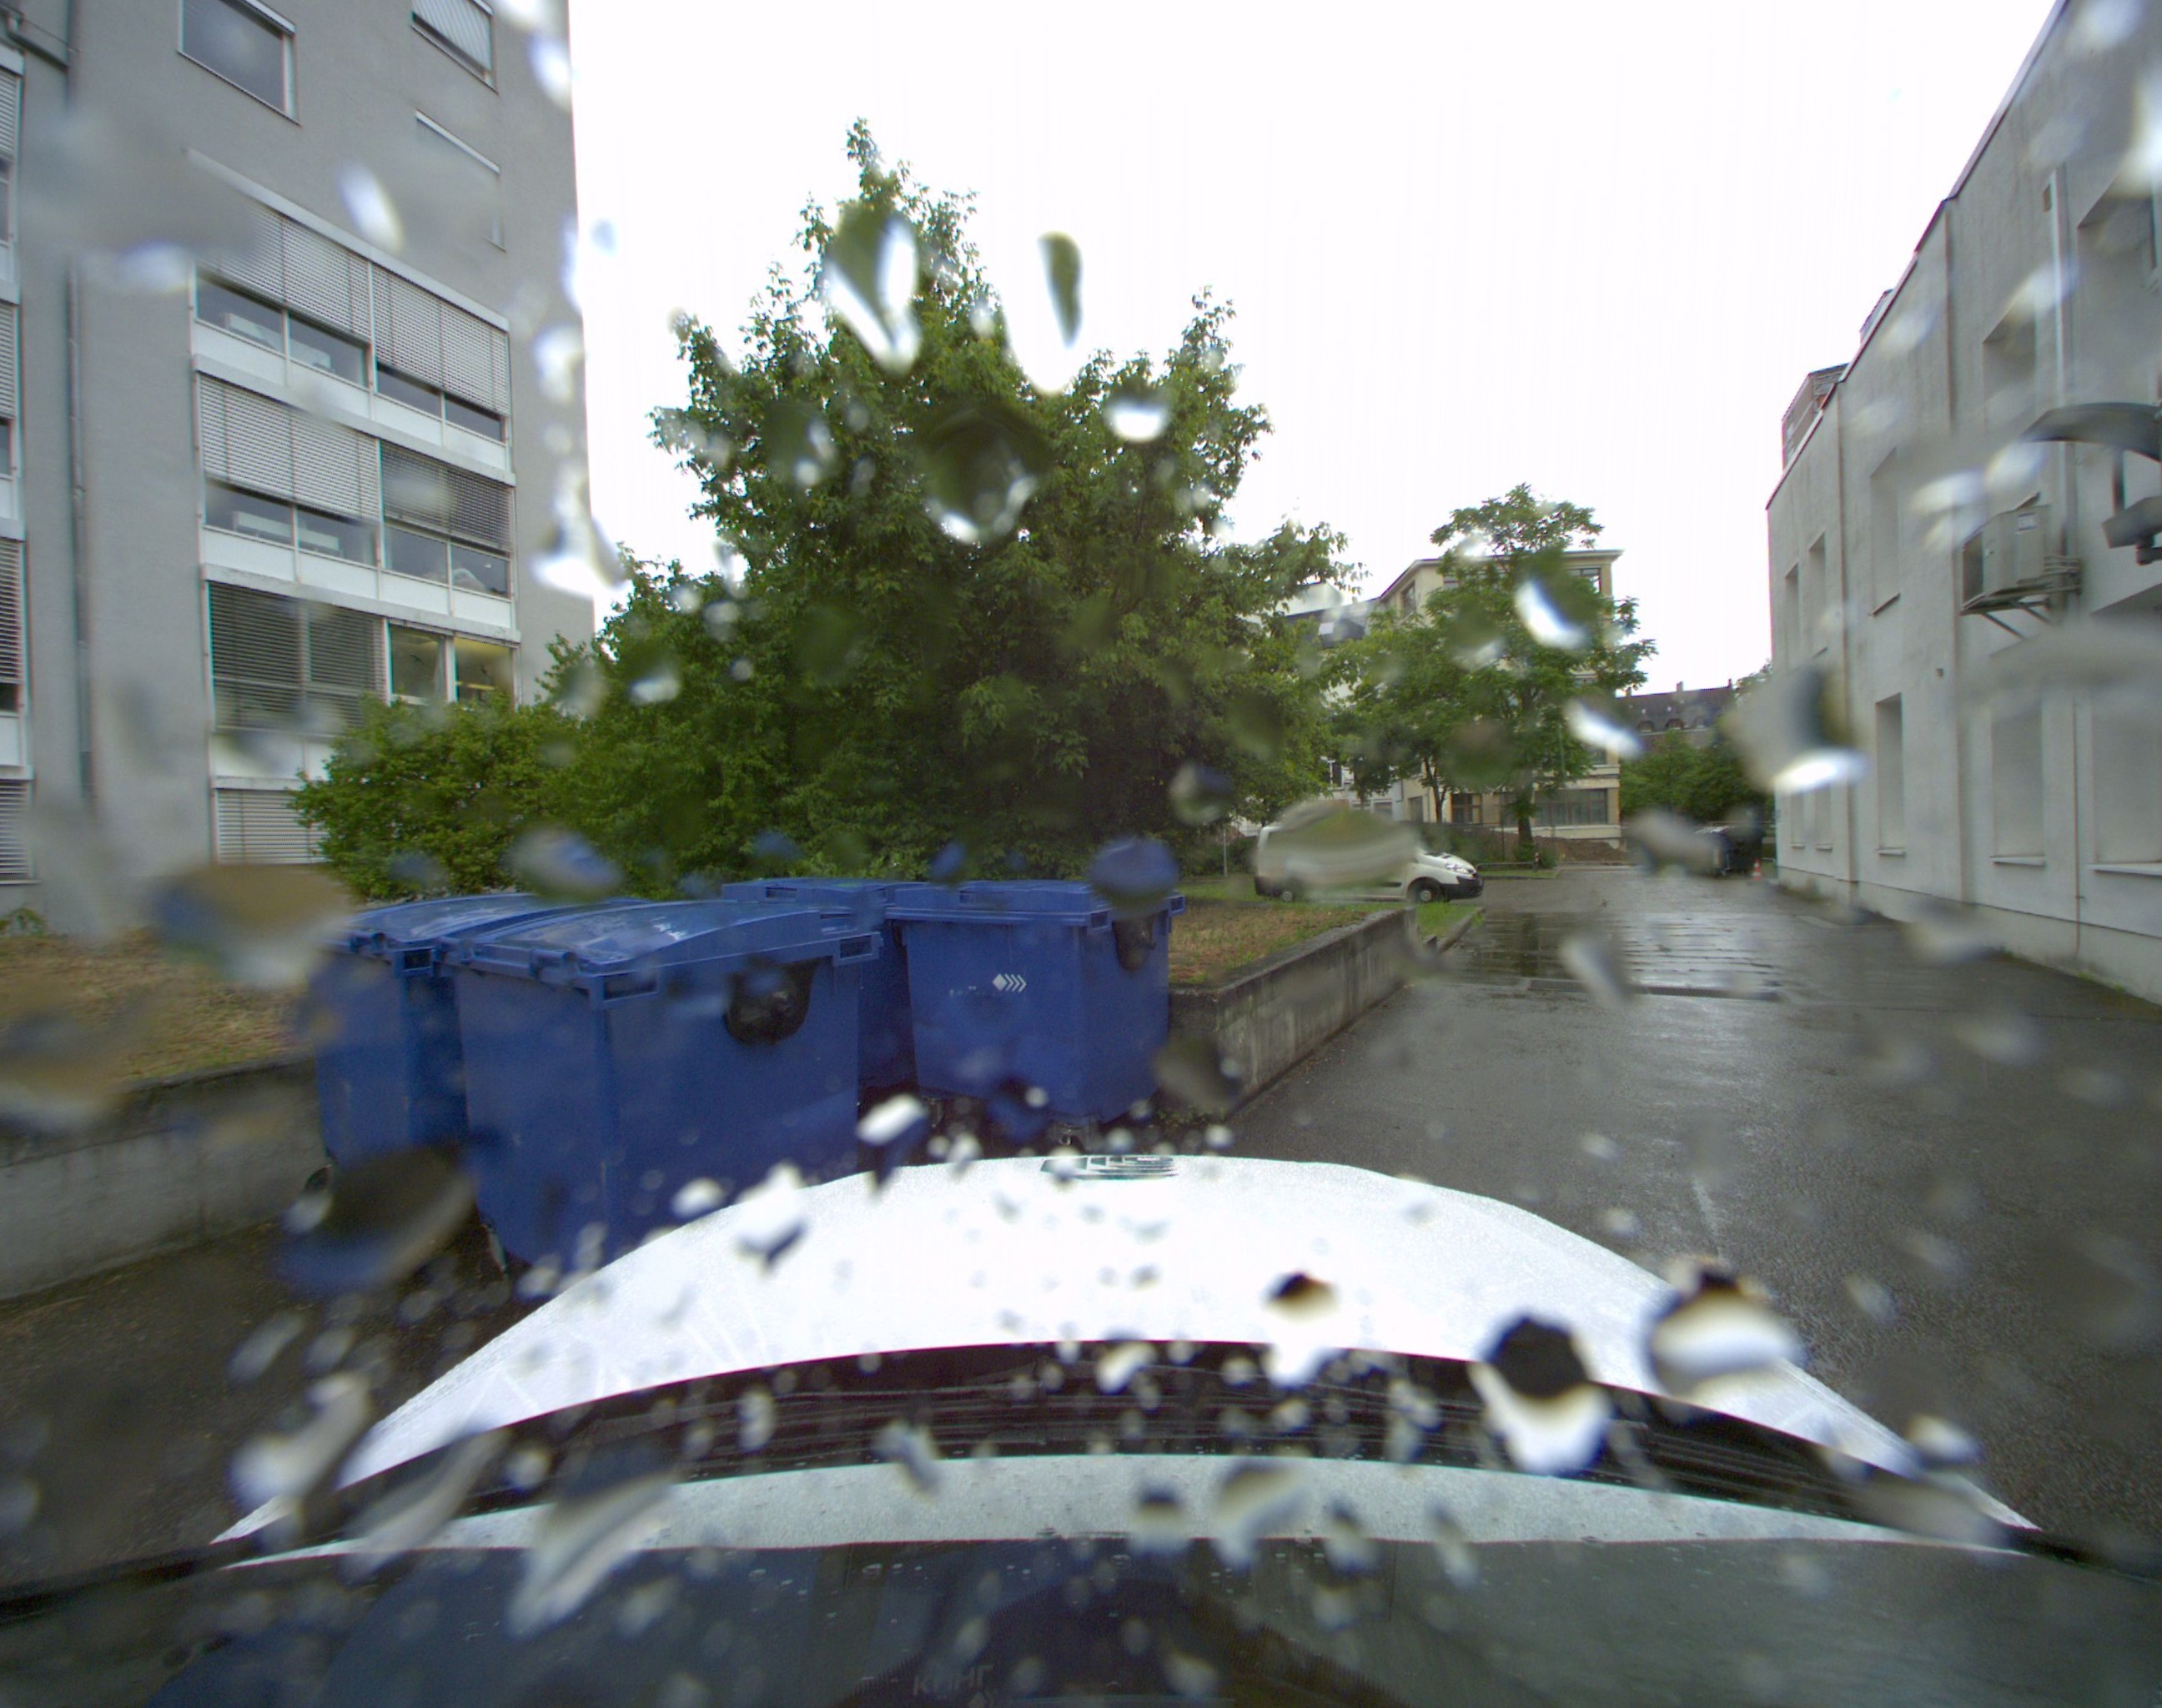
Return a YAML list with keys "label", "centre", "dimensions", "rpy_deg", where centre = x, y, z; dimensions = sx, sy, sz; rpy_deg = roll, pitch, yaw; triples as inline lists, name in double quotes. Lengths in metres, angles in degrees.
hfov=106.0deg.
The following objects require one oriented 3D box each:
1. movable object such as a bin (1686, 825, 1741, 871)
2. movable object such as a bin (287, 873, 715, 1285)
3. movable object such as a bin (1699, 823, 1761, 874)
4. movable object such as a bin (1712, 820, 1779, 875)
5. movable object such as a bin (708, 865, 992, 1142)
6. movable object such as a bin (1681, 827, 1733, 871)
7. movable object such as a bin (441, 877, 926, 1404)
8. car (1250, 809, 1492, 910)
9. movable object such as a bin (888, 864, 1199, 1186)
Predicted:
- label: "movable object such as a bin"
  centre: [20.381, -0.180, 26.282]
  dimensions: [1.203, 1.437, 1.267]
  rpy_deg: [-1, -1, 30]
- label: "movable object such as a bin"
  centre: [-2.533, 0.810, 3.627]
  dimensions: [1.191, 1.336, 1.124]
  rpy_deg: [1, 3, 32]
- label: "movable object such as a bin"
  centre: [18.790, -0.142, 23.622]
  dimensions: [1.203, 1.437, 1.302]
  rpy_deg: [-1, -1, 30]
- label: "movable object such as a bin"
  centre: [18.043, -0.157, 22.166]
  dimensions: [1.203, 1.437, 1.243]
  rpy_deg: [-1, -1, 30]
- label: "movable object such as a bin"
  centre: [-1.351, 0.768, 4.835]
  dimensions: [1.209, 1.337, 1.013]
  rpy_deg: [-1, 2, 33]
- label: "movable object such as a bin"
  centre: [21.093, -0.163, 27.473]
  dimensions: [1.203, 1.437, 1.267]
  rpy_deg: [-1, -1, 30]
- label: "movable object such as a bin"
  centre: [-1.411, 0.777, 2.950]
  dimensions: [1.191, 1.337, 1.124]
  rpy_deg: [-1, 0, 36]
- label: "car"
  centre: [6.478, 0.148, 18.377]
  dimensions: [4.734, 2.013, 2.013]
  rpy_deg: [-2, 1, 33]
- label: "movable object such as a bin"
  centre: [-0.175, 0.750, 4.238]
  dimensions: [1.209, 1.337, 1.013]
  rpy_deg: [-1, 1, 33]
